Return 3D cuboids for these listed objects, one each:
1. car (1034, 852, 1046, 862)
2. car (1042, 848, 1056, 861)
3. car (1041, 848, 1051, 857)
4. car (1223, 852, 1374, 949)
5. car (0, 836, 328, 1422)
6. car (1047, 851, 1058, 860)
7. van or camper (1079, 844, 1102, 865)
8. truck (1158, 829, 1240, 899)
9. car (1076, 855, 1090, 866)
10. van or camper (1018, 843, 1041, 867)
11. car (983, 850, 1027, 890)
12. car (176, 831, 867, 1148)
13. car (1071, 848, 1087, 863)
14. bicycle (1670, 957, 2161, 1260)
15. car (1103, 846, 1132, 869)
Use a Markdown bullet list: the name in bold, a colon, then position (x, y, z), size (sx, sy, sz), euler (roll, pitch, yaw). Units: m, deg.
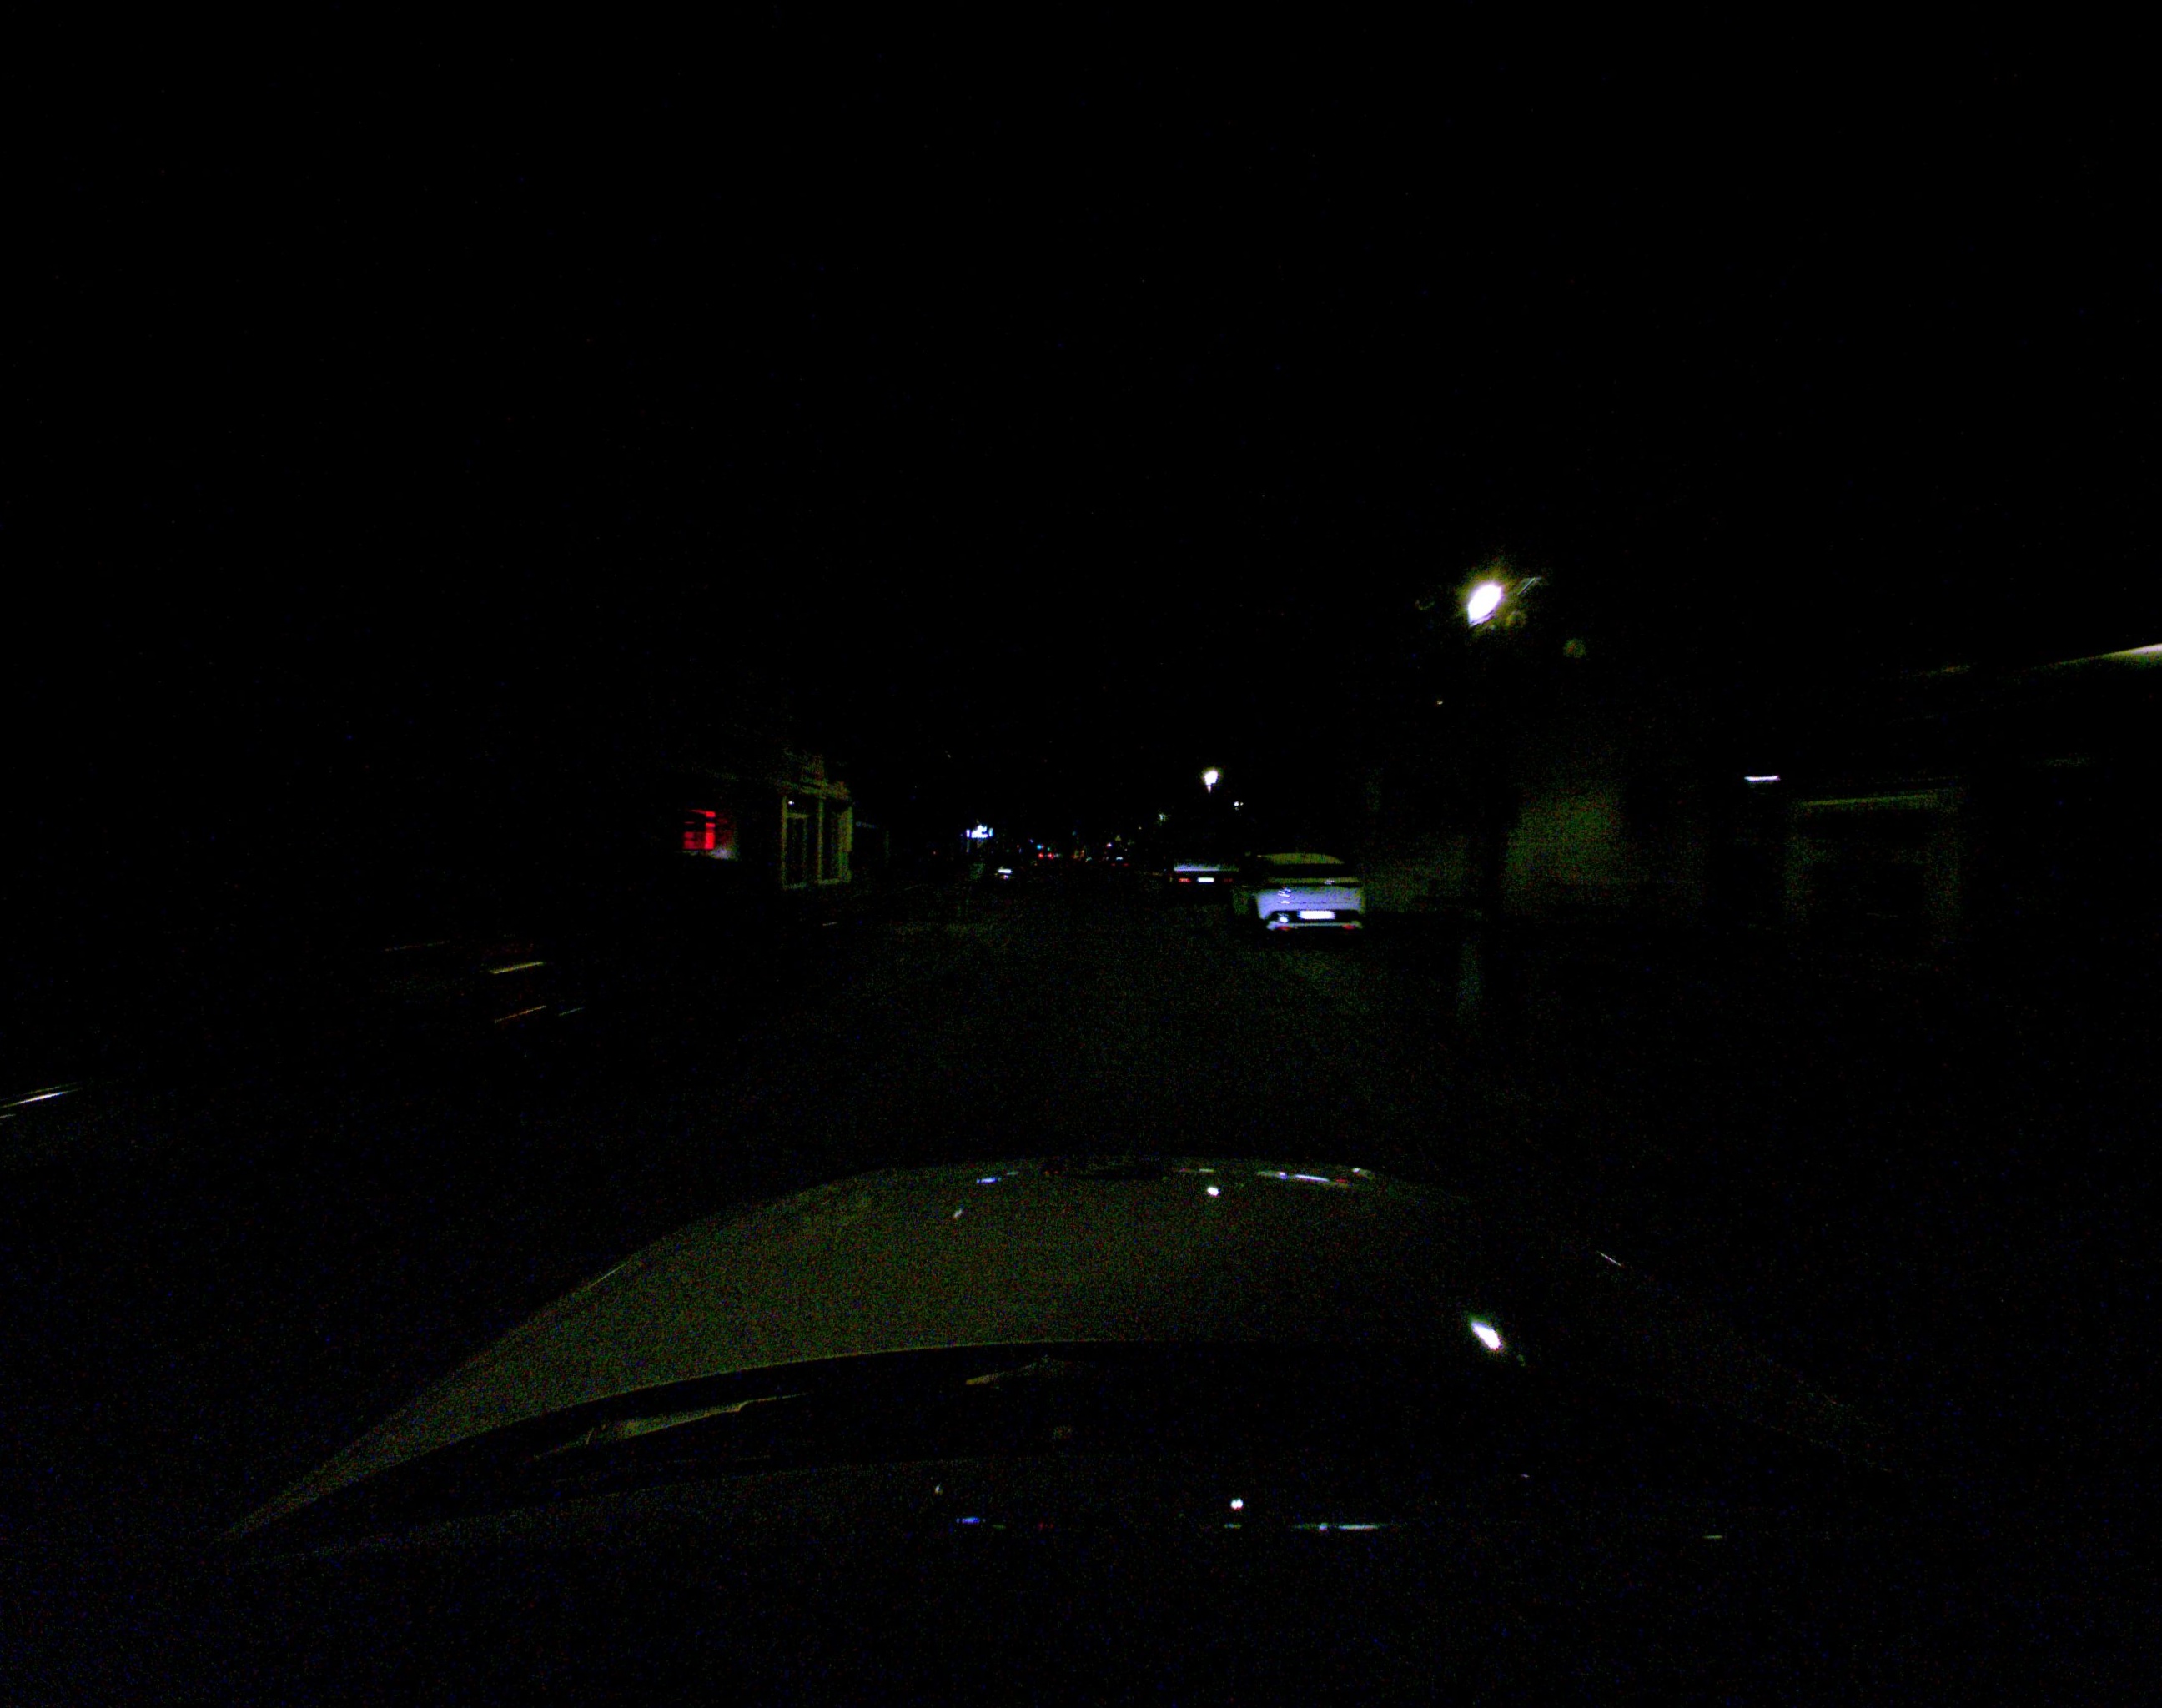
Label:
- **car**: position (-6.791, 0.460, 134.509), size (1.989, 1.702, 3.995), euler (1, 0, -3)
- **car**: position (-4.771, 0.073, 120.619), size (1.990, 1.823, 3.994), euler (1, 0, -5)
- **car**: position (-7.259, -0.220, 169.853), size (1.990, 1.823, 3.993), euler (1, 0, -5)
- **car**: position (3.718, 0.721, 14.632), size (1.782, 1.491, 4.062), euler (-1, 0, 3)
- **car**: position (-3.615, 0.683, 0.987), size (1.722, 1.477, 3.847), euler (2, 0, 1)
- **car**: position (-4.818, 0.266, 137.810), size (1.835, 1.542, 3.841), euler (1, 0, -3)
- **van or camper**: position (1.027, 0.040, 91.587), size (2.105, 2.317, 4.254), euler (0, 0, -5)
- **truck**: position (4.217, 0.326, 30.111), size (2.328, 2.312, 5.782), euler (0, 0, 1)
- **car**: position (0.215, 0.810, 104.174), size (1.528, 1.418, 3.841), euler (1, 0, -3)
- **van or camper**: position (-4.575, 0.105, 72.252), size (1.863, 2.011, 4.254), euler (2, 0, -5)
- **car**: position (-3.177, 0.651, 34.646), size (1.670, 1.543, 4.224), euler (2, 0, -4)
- **car**: position (-3.506, 0.688, 6.654), size (2.012, 1.488, 5.008), euler (4, 0, 1)
- **car**: position (-0.299, 0.196, 110.171), size (1.835, 1.901, 3.841), euler (1, 0, -3)
- **bicycle**: position (3.278, 0.957, 3.169), size (1.749, 1.062, 0.346), euler (0, 0, -1)
- **car**: position (2.902, 0.260, 65.484), size (1.811, 1.828, 4.340), euler (0, 0, -4)
